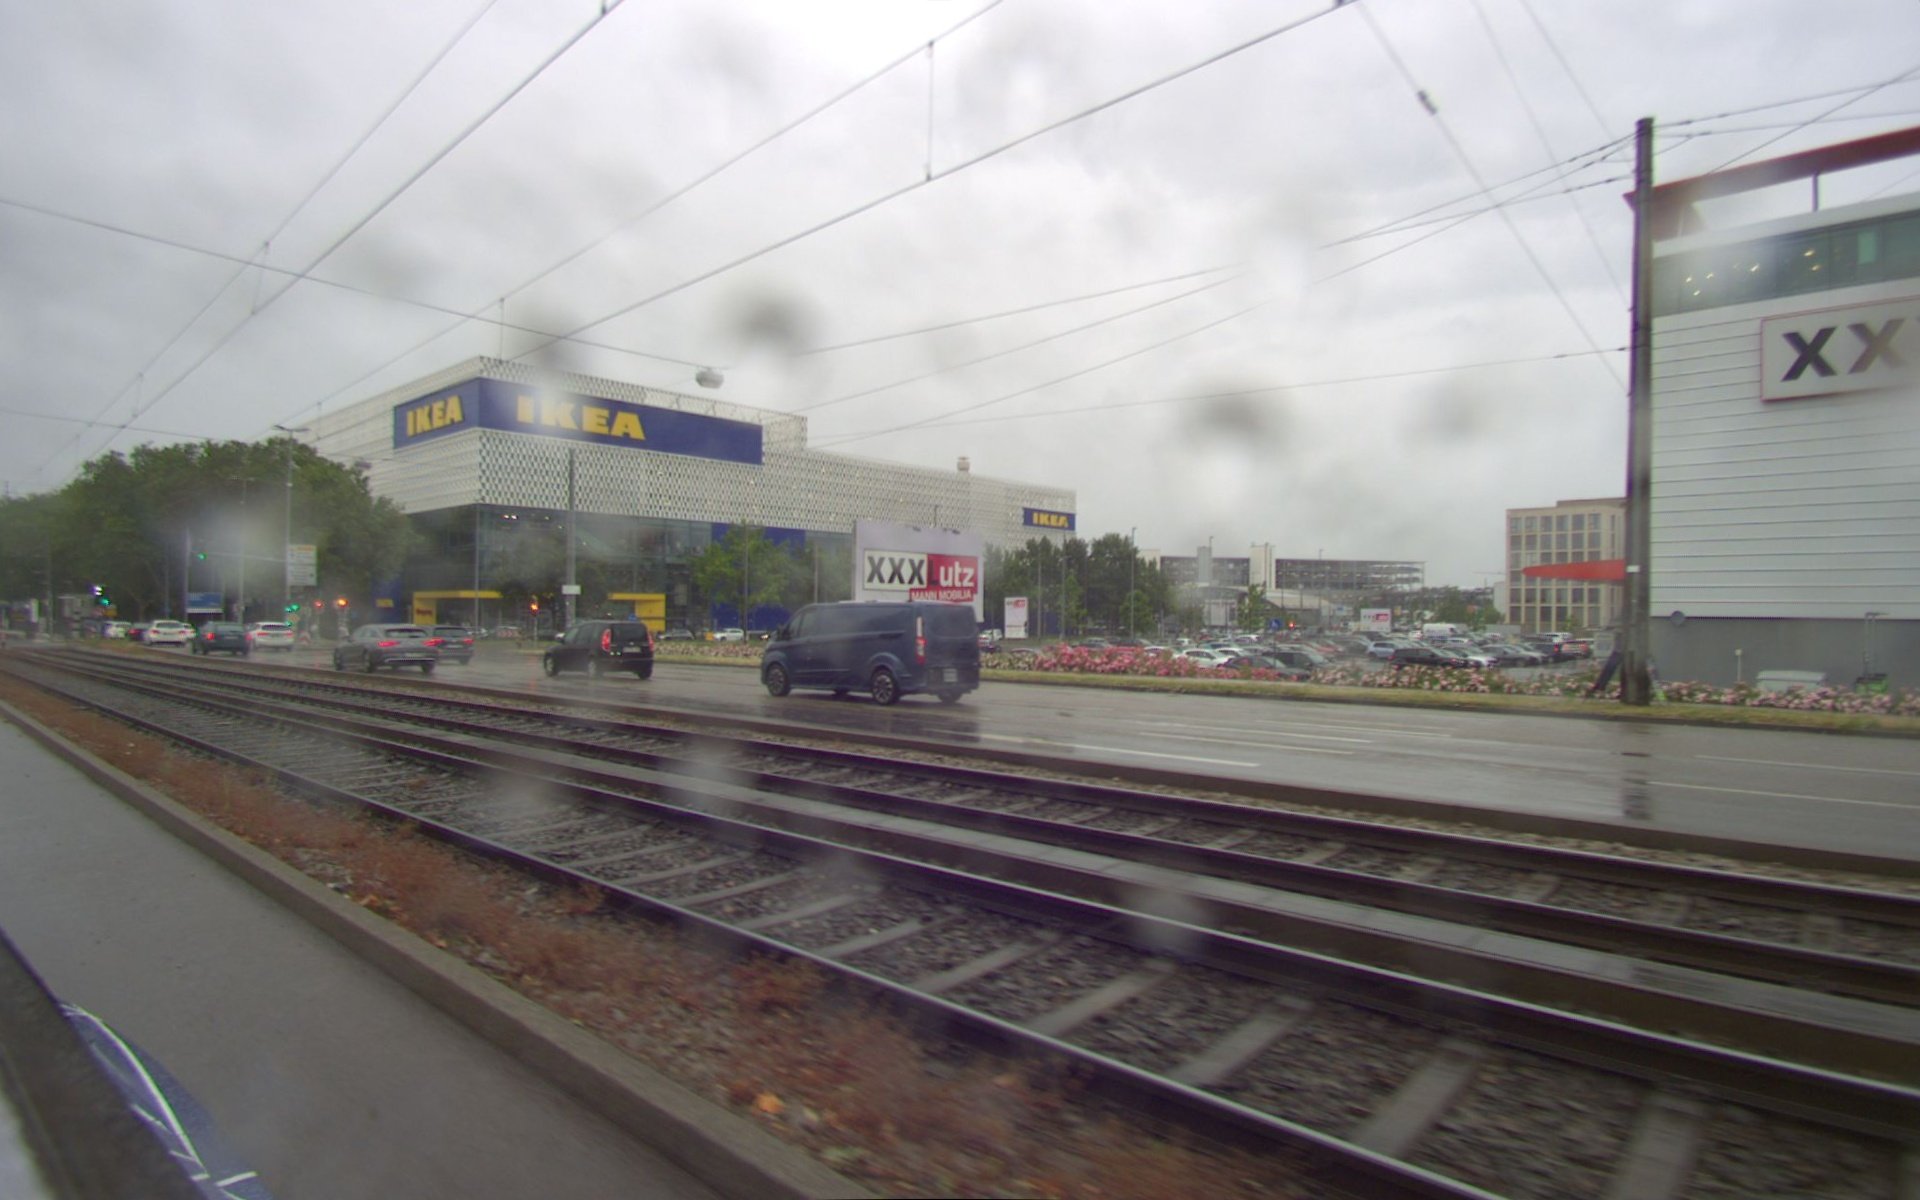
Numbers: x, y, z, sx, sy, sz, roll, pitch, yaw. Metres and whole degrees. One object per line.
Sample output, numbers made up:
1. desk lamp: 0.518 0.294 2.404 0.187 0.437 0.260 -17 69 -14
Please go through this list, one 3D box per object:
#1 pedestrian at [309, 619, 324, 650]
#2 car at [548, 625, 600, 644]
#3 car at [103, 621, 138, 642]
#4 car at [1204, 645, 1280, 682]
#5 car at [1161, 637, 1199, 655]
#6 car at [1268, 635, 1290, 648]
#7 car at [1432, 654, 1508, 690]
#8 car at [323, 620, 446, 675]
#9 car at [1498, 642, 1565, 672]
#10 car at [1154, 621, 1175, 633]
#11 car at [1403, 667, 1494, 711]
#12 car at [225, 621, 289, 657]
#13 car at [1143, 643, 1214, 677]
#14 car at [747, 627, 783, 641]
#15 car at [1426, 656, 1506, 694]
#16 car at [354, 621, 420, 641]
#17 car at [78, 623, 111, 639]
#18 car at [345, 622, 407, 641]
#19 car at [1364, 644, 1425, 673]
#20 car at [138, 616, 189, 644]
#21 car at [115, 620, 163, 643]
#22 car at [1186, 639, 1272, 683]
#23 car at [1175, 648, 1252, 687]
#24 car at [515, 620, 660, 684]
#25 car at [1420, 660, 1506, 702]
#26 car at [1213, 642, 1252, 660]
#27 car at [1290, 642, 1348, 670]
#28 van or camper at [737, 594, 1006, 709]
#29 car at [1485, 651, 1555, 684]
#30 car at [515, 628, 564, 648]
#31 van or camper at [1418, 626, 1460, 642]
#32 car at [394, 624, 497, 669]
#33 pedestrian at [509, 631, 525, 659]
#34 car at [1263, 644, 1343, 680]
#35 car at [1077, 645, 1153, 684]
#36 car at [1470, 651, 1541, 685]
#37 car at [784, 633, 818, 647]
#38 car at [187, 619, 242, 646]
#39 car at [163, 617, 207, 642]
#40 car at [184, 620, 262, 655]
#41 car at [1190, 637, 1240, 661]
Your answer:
1. pedestrian: -48.995 2.637 77.078 0.906 2.261 0.992 -2 2 -34
2. car: -36.036 3.205 94.591 2.000 1.615 4.052 0 0 43
3. car: -66.763 2.485 80.469 4.049 1.547 1.693 -3 -1 44
4. car: 17.525 3.913 62.927 4.087 2.029 1.974 -1 1 40
5. car: 20.849 4.370 95.941 3.165 1.535 1.552 0 0 39
6. car: 55.164 7.172 174.970 2.000 2.029 3.943 0 0 43
7. car: 32.332 4.530 64.199 3.997 2.029 1.973 0 0 40
8. car: -17.399 1.373 30.502 4.689 1.505 1.838 0 -2 42
9. car: 41.928 4.155 74.293 3.996 2.029 1.974 0 0 39
10. car: 36.513 4.779 180.763 2.000 2.029 3.943 0 0 43
11. car: 26.102 4.705 54.113 3.996 2.029 1.974 -1 1 40
12. car: -38.186 2.079 54.931 4.693 1.848 1.971 -1 -1 43
13. car: 14.226 3.881 65.995 3.996 2.029 1.974 -1 1 40
14. car: -21.972 3.850 114.255 1.603 1.417 3.770 0 0 44
15. car: 30.836 4.547 61.725 3.997 2.029 1.973 0 0 40
16. car: -47.074 2.534 83.144 1.820 1.552 4.399 -3 -1 44
17. car: -76.452 2.722 89.390 4.462 1.259 1.693 -3 -1 43
18. car: -49.676 2.664 86.084 1.820 1.552 4.227 -3 -2 44
19. car: 33.923 4.560 79.125 3.996 2.029 1.974 0 0 39
20. car: -48.228 1.847 61.229 4.329 1.585 1.852 -3 -1 44
21. car: -57.685 2.228 71.089 5.084 1.434 1.901 -3 -6 44
22. car: 9.588 2.149 36.160 2.691 1.386 1.249 -1 1 40
23. car: 15.203 4.012 60.756 3.996 2.029 1.974 -1 1 40
24. car: -10.580 1.425 28.545 4.909 1.630 1.837 -1 -4 44
25. car: 28.140 4.477 56.682 3.997 2.029 1.973 0 0 40
26. car: 25.090 4.666 93.274 3.165 1.535 1.552 0 0 39
27. car: 29.043 4.532 81.999 3.996 2.029 1.974 0 0 39
28. van or camper: -1.952 0.965 20.646 5.686 2.029 2.279 -1 -2 43
29. car: 38.917 4.640 70.360 3.996 2.029 1.974 0 0 39
30. car: -39.814 3.599 95.839 1.683 1.686 3.956 0 0 44
31. van or camper: 65.959 4.665 139.273 4.984 2.129 1.764 0 0 37
32. car: -19.307 1.715 37.908 4.554 1.528 1.942 0 -3 42
33. pedestrian: -29.740 3.041 67.962 0.767 1.832 0.707 -1 0 35
34. car: 15.506 2.786 45.793 3.110 1.453 1.458 -1 1 40
35. car: 9.200 3.808 60.315 3.996 2.029 1.974 -1 1 40
36. car: 37.041 4.597 68.735 3.996 2.029 1.974 0 0 39
37. car: -18.435 4.671 117.536 1.603 1.417 3.770 0 0 44
38. car: -49.207 2.159 66.748 4.840 1.618 1.888 -2 1 42
39. car: -61.540 2.313 80.358 4.790 1.916 1.972 0 0 43
40. car: -33.889 1.728 46.498 4.671 1.468 1.972 0 -3 43
41. car: 22.862 4.356 90.799 3.900 1.919 1.801 0 0 38
